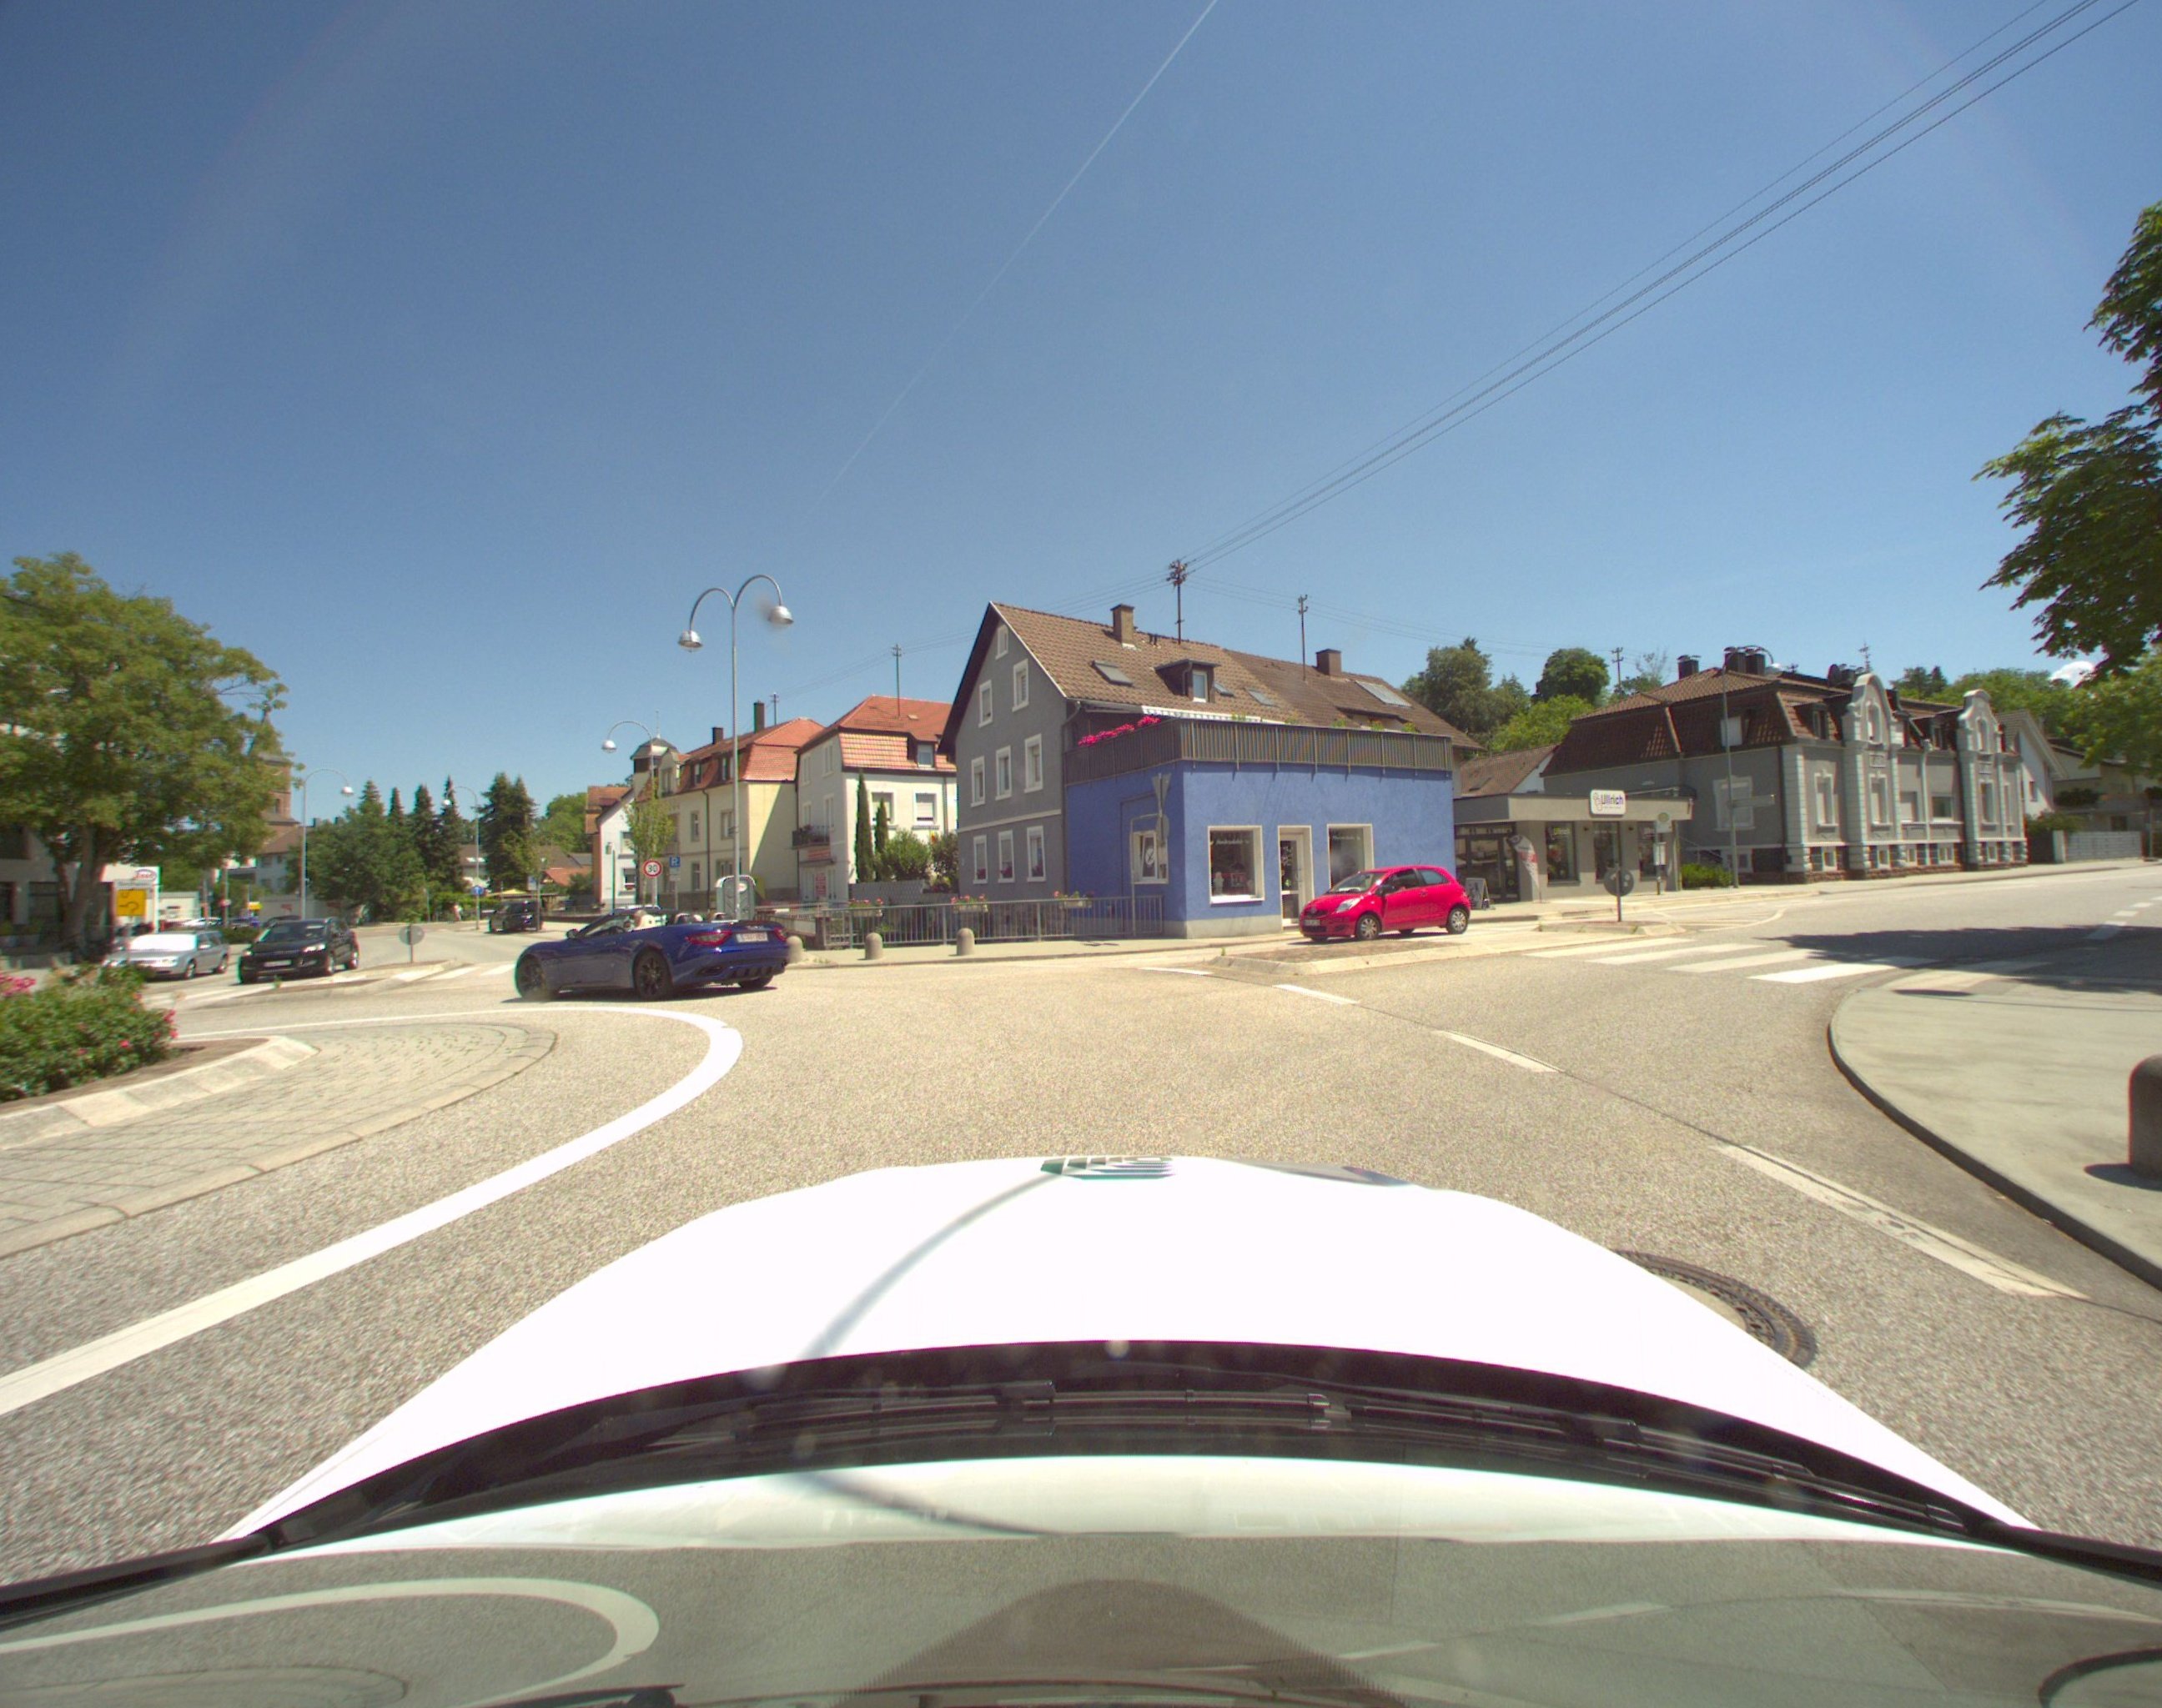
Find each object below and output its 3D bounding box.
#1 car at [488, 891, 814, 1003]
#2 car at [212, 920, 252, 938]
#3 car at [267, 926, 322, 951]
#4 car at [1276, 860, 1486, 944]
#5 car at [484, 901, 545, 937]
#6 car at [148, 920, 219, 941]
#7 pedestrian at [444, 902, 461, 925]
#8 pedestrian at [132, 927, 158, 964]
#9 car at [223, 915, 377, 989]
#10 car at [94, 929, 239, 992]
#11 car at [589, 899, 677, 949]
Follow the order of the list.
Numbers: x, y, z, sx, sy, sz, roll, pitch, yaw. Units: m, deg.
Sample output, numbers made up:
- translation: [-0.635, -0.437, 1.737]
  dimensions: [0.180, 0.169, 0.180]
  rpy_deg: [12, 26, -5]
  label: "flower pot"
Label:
- translation: [-6.529, 1.370, 12.319]
  dimensions: [4.569, 1.398, 1.994]
  rpy_deg: [-4, -3, 25]
  label: "car"
- translation: [-73.098, 6.426, 70.099]
  dimensions: [3.948, 1.378, 1.555]
  rpy_deg: [-4, -2, 32]
  label: "car"
- translation: [-58.200, 6.230, 60.261]
  dimensions: [4.468, 1.688, 2.013]
  rpy_deg: [-3, -2, 33]
  label: "car"
- translation: [6.416, 1.003, 17.475]
  dimensions: [4.004, 1.533, 1.820]
  rpy_deg: [-1, -4, -23]
  label: "car"
- translation: [-33.458, 3.776, 48.063]
  dimensions: [4.232, 1.865, 2.012]
  rpy_deg: [-1, -2, 41]
  label: "car"
- translation: [-84.903, 7.201, 77.123]
  dimensions: [1.982, 1.651, 4.010]
  rpy_deg: [0, -2, 9]
  label: "car"
- translation: [-51.097, 4.866, 66.214]
  dimensions: [0.542, 1.814, 0.850]
  rpy_deg: [-1, -2, 26]
  label: "pedestrian"
- translation: [-39.099, 3.800, 34.018]
  dimensions: [0.534, 1.485, 0.550]
  rpy_deg: [-1, -2, -30]
  label: "pedestrian"
- translation: [-22.828, 2.784, 24.049]
  dimensions: [2.004, 1.688, 4.486]
  rpy_deg: [-2, -1, -27]
  label: "car"
- translation: [-27.962, 3.193, 25.082]
  dimensions: [1.807, 1.590, 3.960]
  rpy_deg: [1, -3, -31]
  label: "car"
- translation: [-17.418, 2.672, 31.572]
  dimensions: [2.011, 1.584, 4.235]
  rpy_deg: [-6, 1, -41]
  label: "car"
